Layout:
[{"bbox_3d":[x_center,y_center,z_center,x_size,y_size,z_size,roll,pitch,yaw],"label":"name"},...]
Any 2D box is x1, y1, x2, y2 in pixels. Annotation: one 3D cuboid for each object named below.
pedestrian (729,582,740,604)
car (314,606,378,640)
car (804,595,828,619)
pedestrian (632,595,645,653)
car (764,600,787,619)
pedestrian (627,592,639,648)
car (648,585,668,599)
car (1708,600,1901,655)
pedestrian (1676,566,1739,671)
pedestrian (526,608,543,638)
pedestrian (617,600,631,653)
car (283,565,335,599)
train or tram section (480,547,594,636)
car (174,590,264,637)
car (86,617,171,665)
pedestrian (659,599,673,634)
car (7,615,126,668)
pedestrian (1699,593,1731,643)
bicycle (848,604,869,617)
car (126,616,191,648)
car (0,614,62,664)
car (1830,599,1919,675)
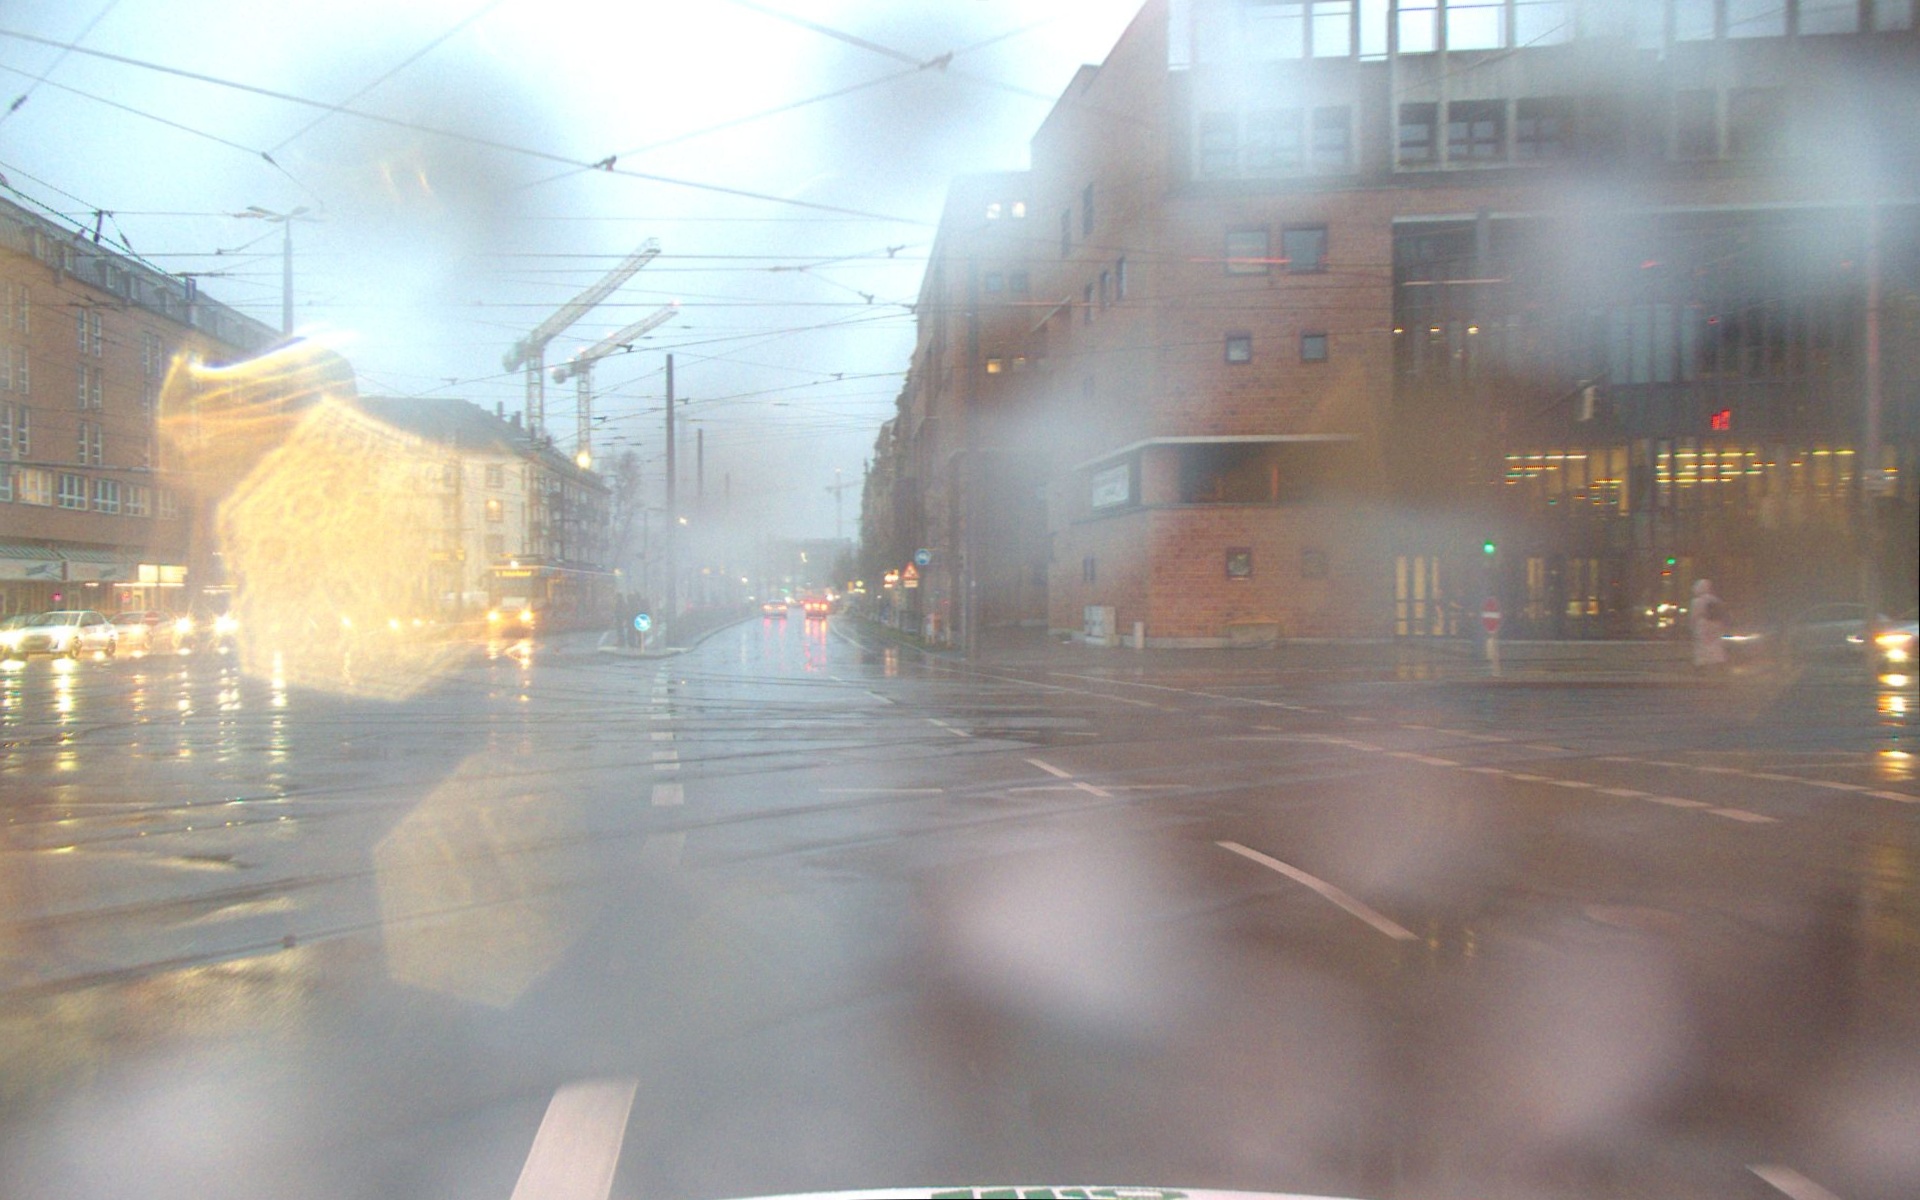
[{"bbox_3d":[-15.834,-0.473,116.158,0.669,1.542,0.616,1,0,-18],"label":"pedestrian"},{"bbox_3d":[-25.563,0.948,68.955,1.649,1.378,3.541,1,0,-6],"label":"car"},{"bbox_3d":[-12.433,0.572,143.215,1.954,2.049,3.997,0,0,-3],"label":"car"},{"bbox_3d":[-10.565,0.778,54.291,0.404,1.878,0.668,0,0,-10],"label":"pedestrian"},{"bbox_3d":[-15.049,0.785,135.042,1.748,1.492,3.146,0,0,-3],"label":"car"},{"bbox_3d":[-10.625,0.649,53.789,0.353,1.818,0.439,0,0,-10],"label":"pedestrian"},{"bbox_3d":[-30.274,-0.823,165.892,1.649,1.378,3.541,1,0,-6],"label":"car"},{"bbox_3d":[20.892,0.660,41.008,3.902,1.333,1.813,0,0,-3],"label":"car"},{"bbox_3d":[13.076,0.318,28.952,0.720,1.818,0.733,-1,0,-8],"label":"pedestrian"},{"bbox_3d":[-16.889,0.919,65.661,0.568,1.173,0.490,1,0,-4],"label":"pedestrian"},{"bbox_3d":[-11.272,0.891,55.489,0.425,1.766,0.472,0,0,-10],"label":"pedestrian"},{"bbox_3d":[-41.003,-1.097,104.221,1.955,2.049,3.996,1,0,-5],"label":"car"},{"bbox_3d":[-19.011,-0.358,75.132,2.892,3.652,12.243,1,0,-5],"label":"train or tram section"},{"bbox_3d":[-28.758,0.499,64.344,1.793,1.739,4.700,0,0,-5],"label":"car"},{"bbox_3d":[-31.951,1.564,63.655,1.651,1.739,3.851,0,0,-5],"label":"car"},{"bbox_3d":[-13.766,0.777,77.386,0.606,1.618,0.621,0,0,-8],"label":"pedestrian"},{"bbox_3d":[-27.578,1.243,51.219,1.635,1.521,4.197,0,0,-4],"label":"car"},{"bbox_3d":[21.320,0.500,46.716,0.721,1.413,0.737,0,0,16],"label":"pedestrian"},{"bbox_3d":[-8.618,0.903,140.298,1.697,1.073,0.371,-2,0,-7],"label":"bicycle"},{"bbox_3d":[-40.299,1.576,83.261,1.581,1.517,4.222,0,0,-6],"label":"car"},{"bbox_3d":[-30.556,1.249,53.245,1.550,1.521,3.593,0,0,-4],"label":"car"},{"bbox_3d":[19.232,0.652,31.948,3.901,1.364,1.813,-2,0,-2],"label":"car"}]
